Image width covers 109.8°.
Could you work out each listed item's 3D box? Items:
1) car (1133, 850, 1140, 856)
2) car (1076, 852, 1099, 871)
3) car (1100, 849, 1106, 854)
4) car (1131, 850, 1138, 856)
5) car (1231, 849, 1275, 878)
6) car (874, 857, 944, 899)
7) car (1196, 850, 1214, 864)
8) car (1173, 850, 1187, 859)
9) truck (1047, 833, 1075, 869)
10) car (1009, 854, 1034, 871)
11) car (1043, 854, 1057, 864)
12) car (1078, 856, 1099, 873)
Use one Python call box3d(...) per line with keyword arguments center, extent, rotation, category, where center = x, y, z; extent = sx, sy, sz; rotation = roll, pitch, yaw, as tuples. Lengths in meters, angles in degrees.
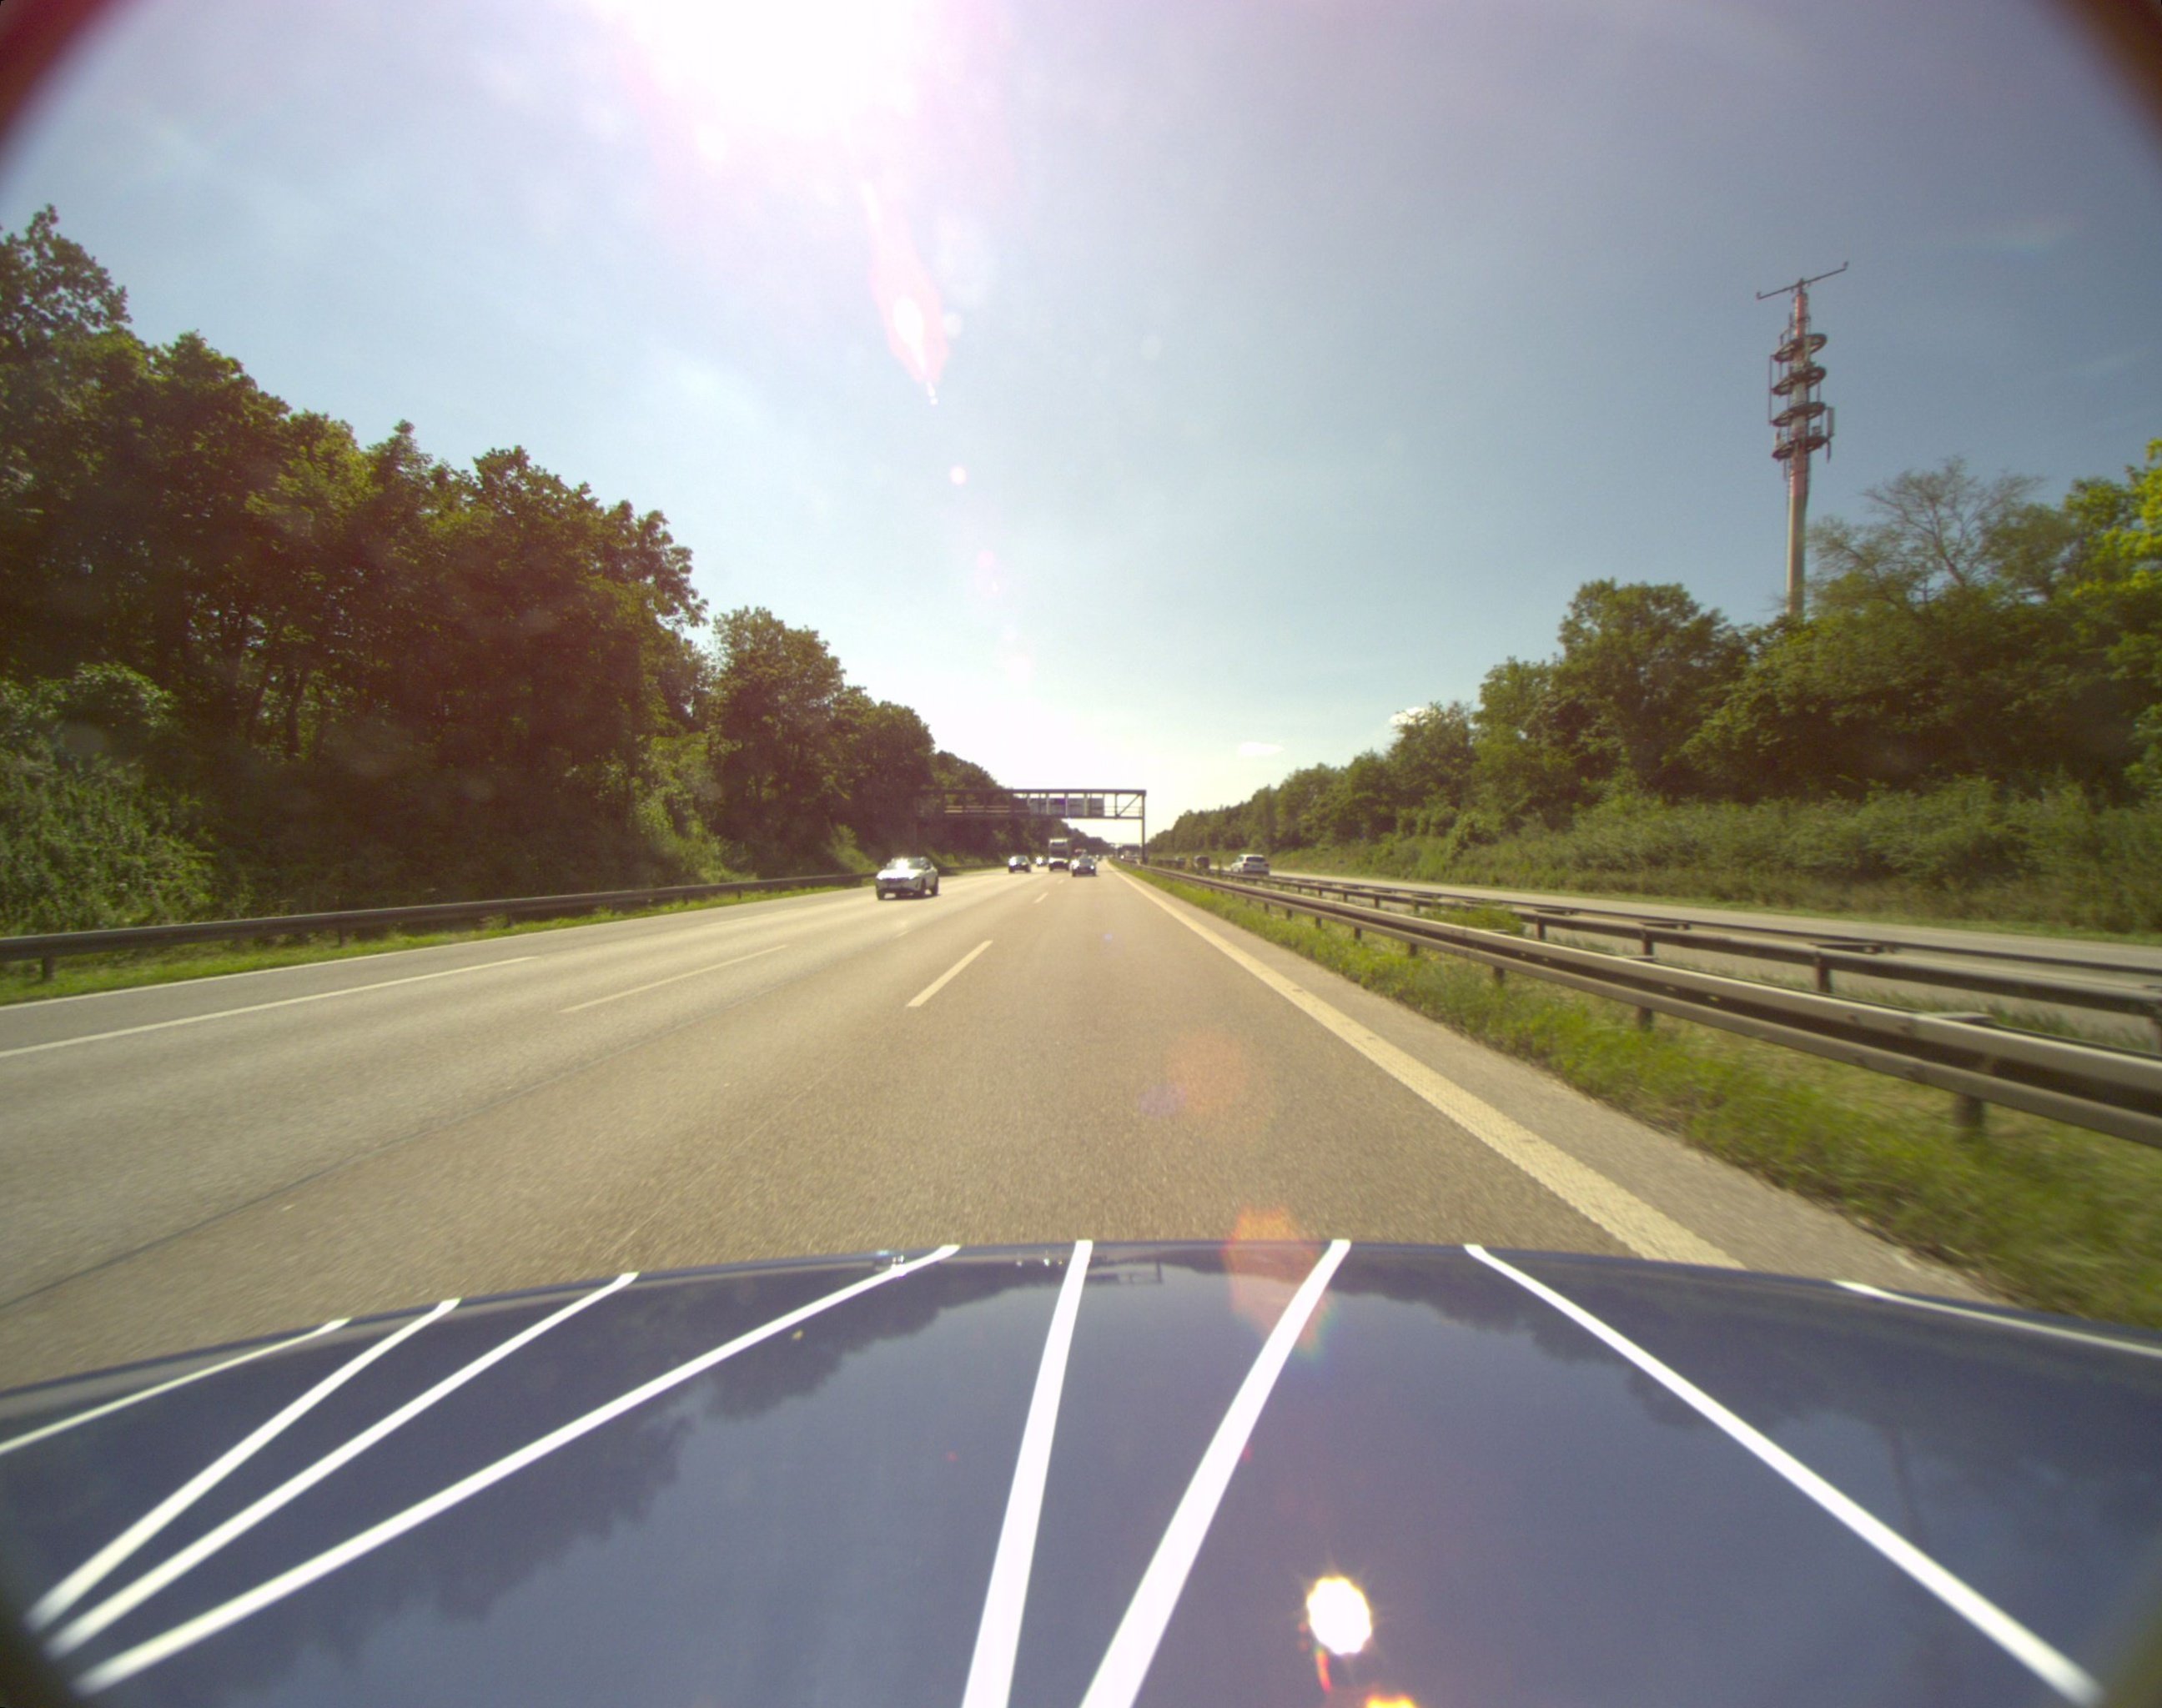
box3d(center=(14.741, -0.277, 202.045), extent=(1.766, 1.608, 4.231), rotation=(0, 0, 1), category="car")
box3d(center=(0.538, 0.615, 61.363), extent=(1.814, 1.483, 3.729), rotation=(0, 0, 1), category="car")
box3d(center=(5.776, -0.672, 200.704), extent=(1.591, 1.291, 3.383), rotation=(0, 0, 2), category="car")
box3d(center=(16.438, -0.307, 231.641), extent=(1.811, 1.632, 4.800), rotation=(2, 0, 1), category="car")
box3d(center=(10.565, 0.552, 46.954), extent=(1.816, 1.607, 3.913), rotation=(2, 0, 0), category="car")
box3d(center=(-6.996, 0.925, 31.304), extent=(1.848, 1.559, 4.036), rotation=(-2, 0, 1), category="car")
box3d(center=(15.433, 0.339, 94.535), extent=(1.661, 1.607, 3.914), rotation=(2, 0, 2), category="car")
box3d(center=(15.834, 0.063, 121.997), extent=(1.661, 1.469, 4.320), rotation=(2, 0, 1), category="car")
box3d(center=(-2.068, -0.322, 81.073), extent=(2.676, 3.661, 6.484), rotation=(0, 0, 1), category="truck")
box3d(center=(-5.997, 0.822, 77.242), extent=(1.924, 1.659, 4.687), rotation=(-2, 0, 3), category="car")
box3d(center=(-4.663, 0.776, 114.916), extent=(1.916, 1.390, 4.138), rotation=(0, 0, 1), category="car")
box3d(center=(0.574, 0.780, 57.084), extent=(1.537, 1.265, 2.770), rotation=(0, 0, 1), category="car")
